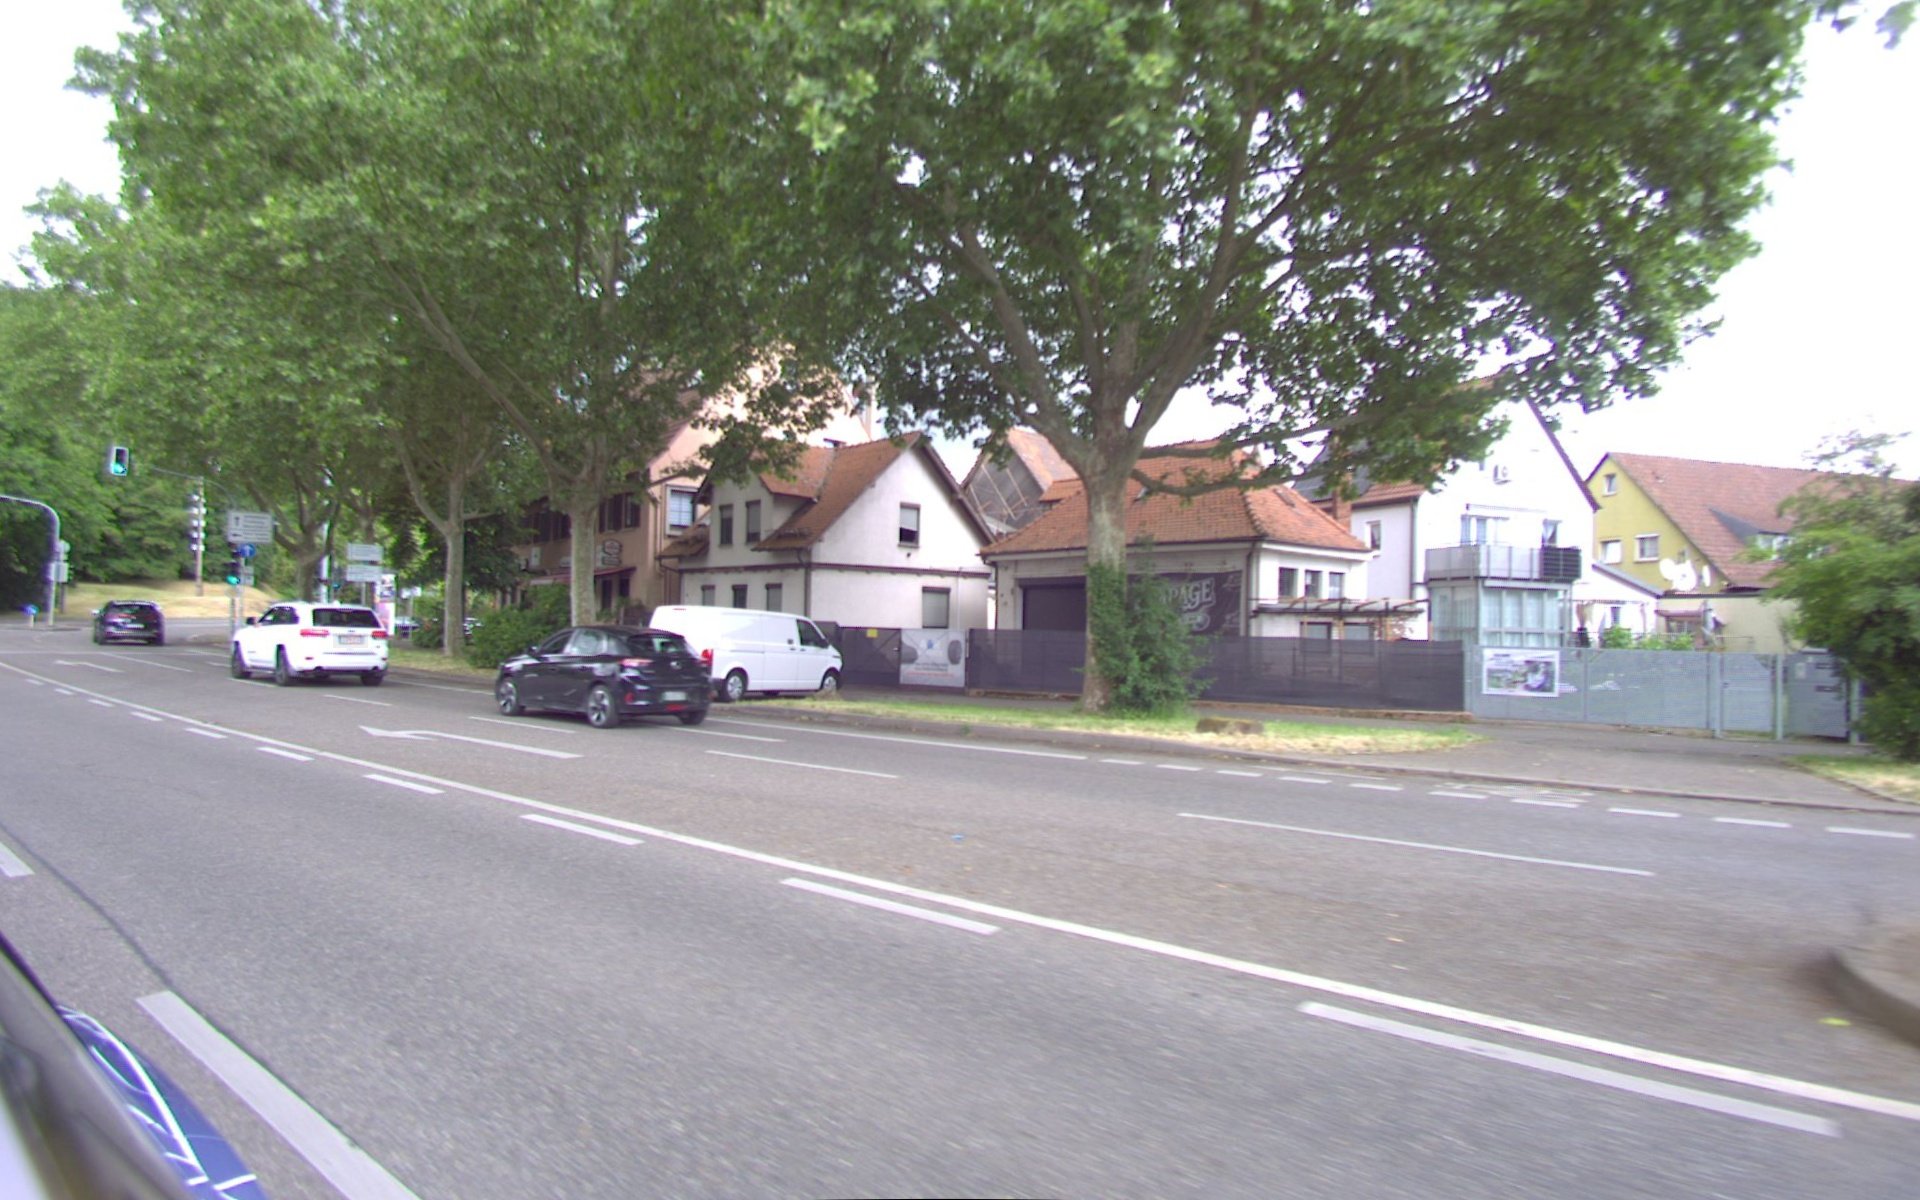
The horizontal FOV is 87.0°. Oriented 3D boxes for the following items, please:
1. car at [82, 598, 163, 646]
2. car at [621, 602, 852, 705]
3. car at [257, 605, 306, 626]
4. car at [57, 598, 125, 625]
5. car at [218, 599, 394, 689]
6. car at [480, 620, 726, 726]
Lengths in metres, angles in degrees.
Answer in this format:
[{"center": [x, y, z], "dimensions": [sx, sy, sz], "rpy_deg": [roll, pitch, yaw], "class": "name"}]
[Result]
[{"center": [-31.026, 0.807, 37.446], "dimensions": [4.417, 1.599, 1.776], "rpy_deg": [-1, -5, 45], "class": "car"}, {"center": [-4.647, 1.186, 22.047], "dimensions": [2.073, 1.946, 5.195], "rpy_deg": [1, -3, 26], "class": "car"}, {"center": [-50.982, 1.152, 76.135], "dimensions": [1.738, 1.477, 4.032], "rpy_deg": [3, -1, -14], "class": "car"}, {"center": [-54.304, 0.720, 63.312], "dimensions": [1.754, 1.580, 4.012], "rpy_deg": [2, -1, -17], "class": "car"}, {"center": [-14.435, 0.932, 22.220], "dimensions": [4.748, 1.777, 1.892], "rpy_deg": [-1, -3, 40], "class": "car"}, {"center": [-5.420, 1.050, 15.170], "dimensions": [3.943, 1.393, 1.554], "rpy_deg": [-2, -4, 38], "class": "car"}]
